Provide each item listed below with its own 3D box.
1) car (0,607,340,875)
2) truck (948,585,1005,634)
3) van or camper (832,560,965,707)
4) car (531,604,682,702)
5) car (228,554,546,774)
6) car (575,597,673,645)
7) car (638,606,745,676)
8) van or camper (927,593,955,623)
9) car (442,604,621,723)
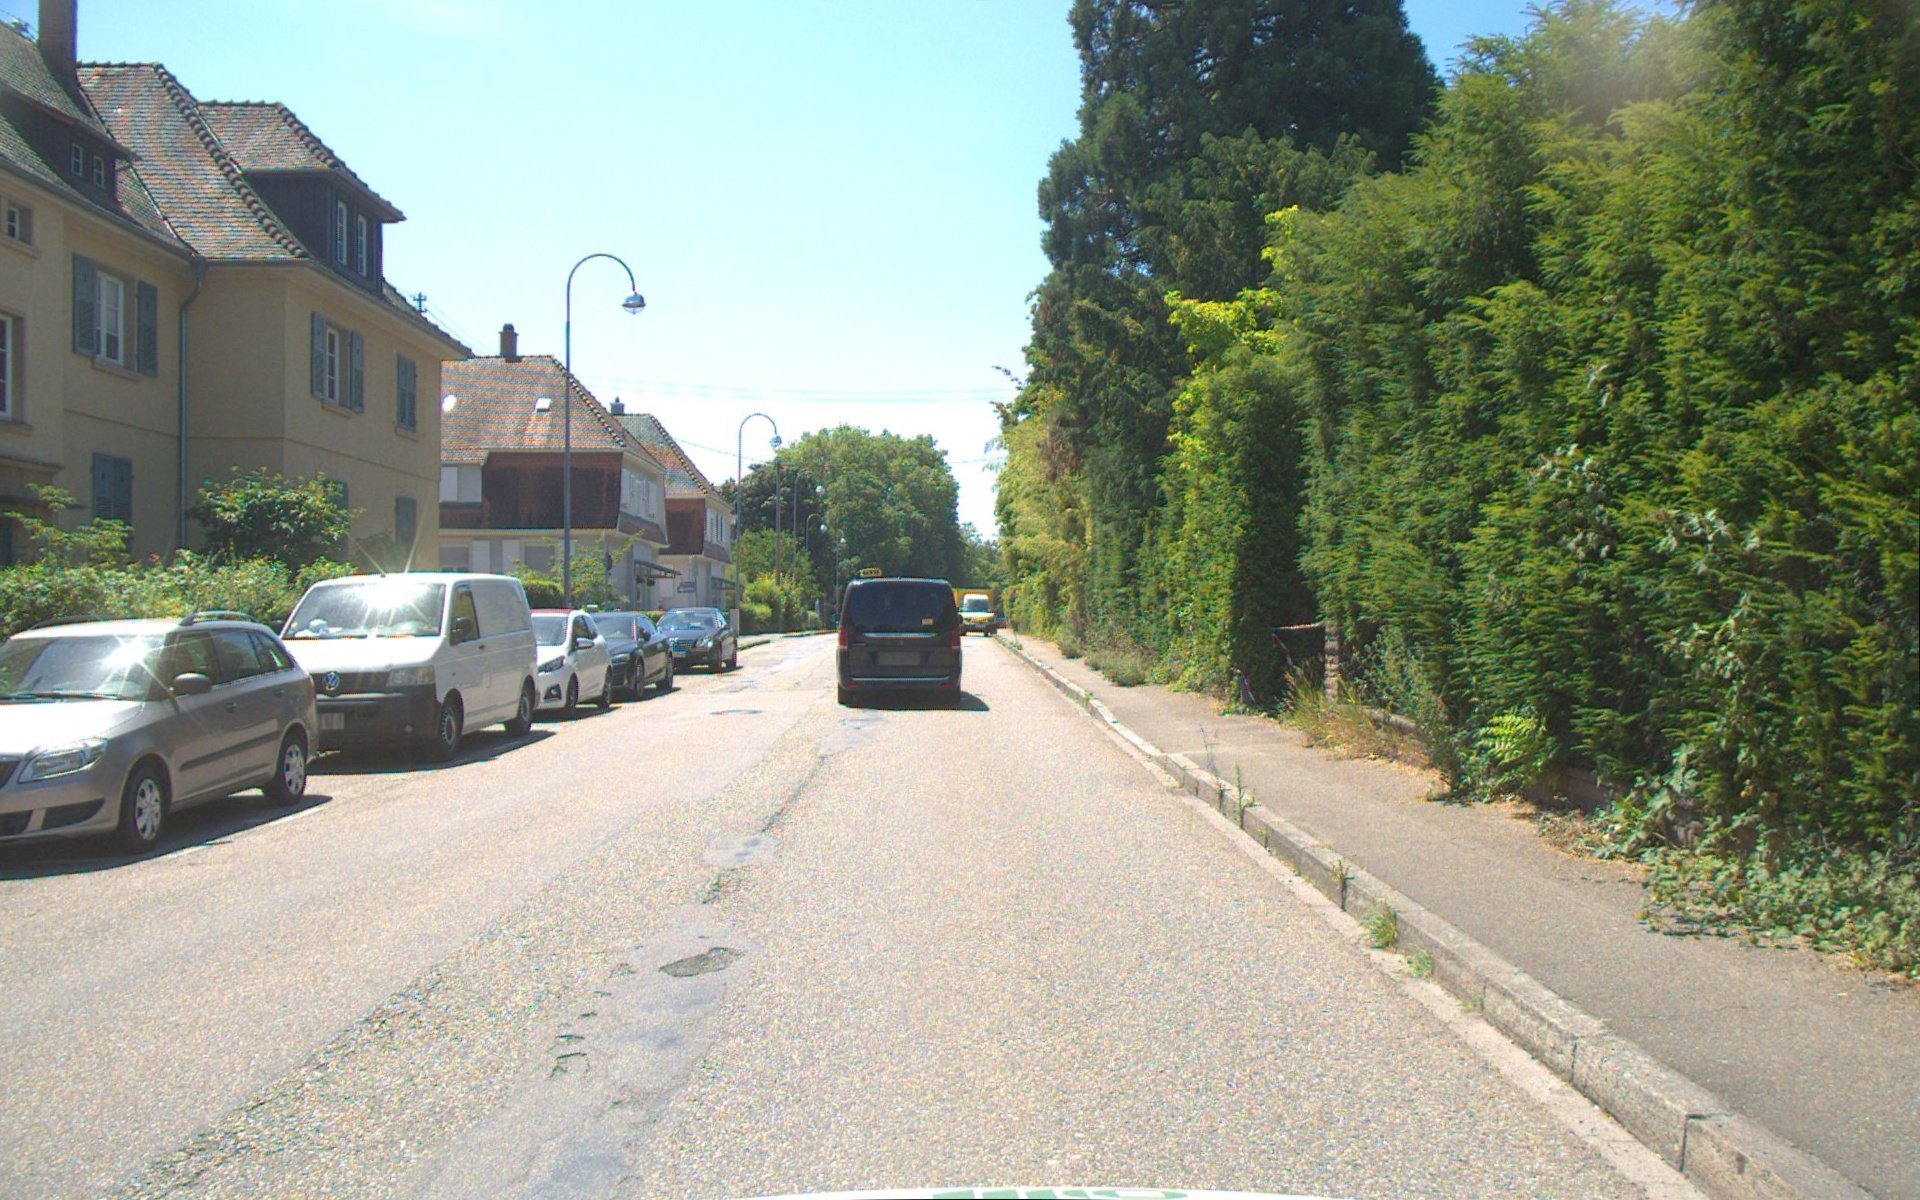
[{"bbox_3d":[-6.025,0.869,11.805,1.652,1.552,4.062,-3,0,-1],"label":"car"},{"bbox_3d":[0.748,0.477,80.637,2.309,2.298,6.086,0,-1,-4],"label":"truck"},{"bbox_3d":[-0.879,0.498,26.100,1.864,2.049,5.269,1,-1,0],"label":"van or camper"},{"bbox_3d":[-5.906,0.839,28.105,1.632,1.519,4.465,0,0,0],"label":"car"},{"bbox_3d":[-5.998,0.608,17.954,1.840,1.997,4.624,-2,0,-1],"label":"car"},{"bbox_3d":[-14.339,0.891,70.665,3.788,1.938,1.879,-1,0,-1],"label":"car"},{"bbox_3d":[-5.988,0.881,37.297,1.632,1.410,4.380,-2,0,0],"label":"car"},{"bbox_3d":[-1.322,0.572,116.533,1.952,2.049,4.000,0,-1,0],"label":"van or camper"},{"bbox_3d":[-6.003,0.840,23.524,1.632,1.519,3.477,-1,0,0],"label":"car"}]
